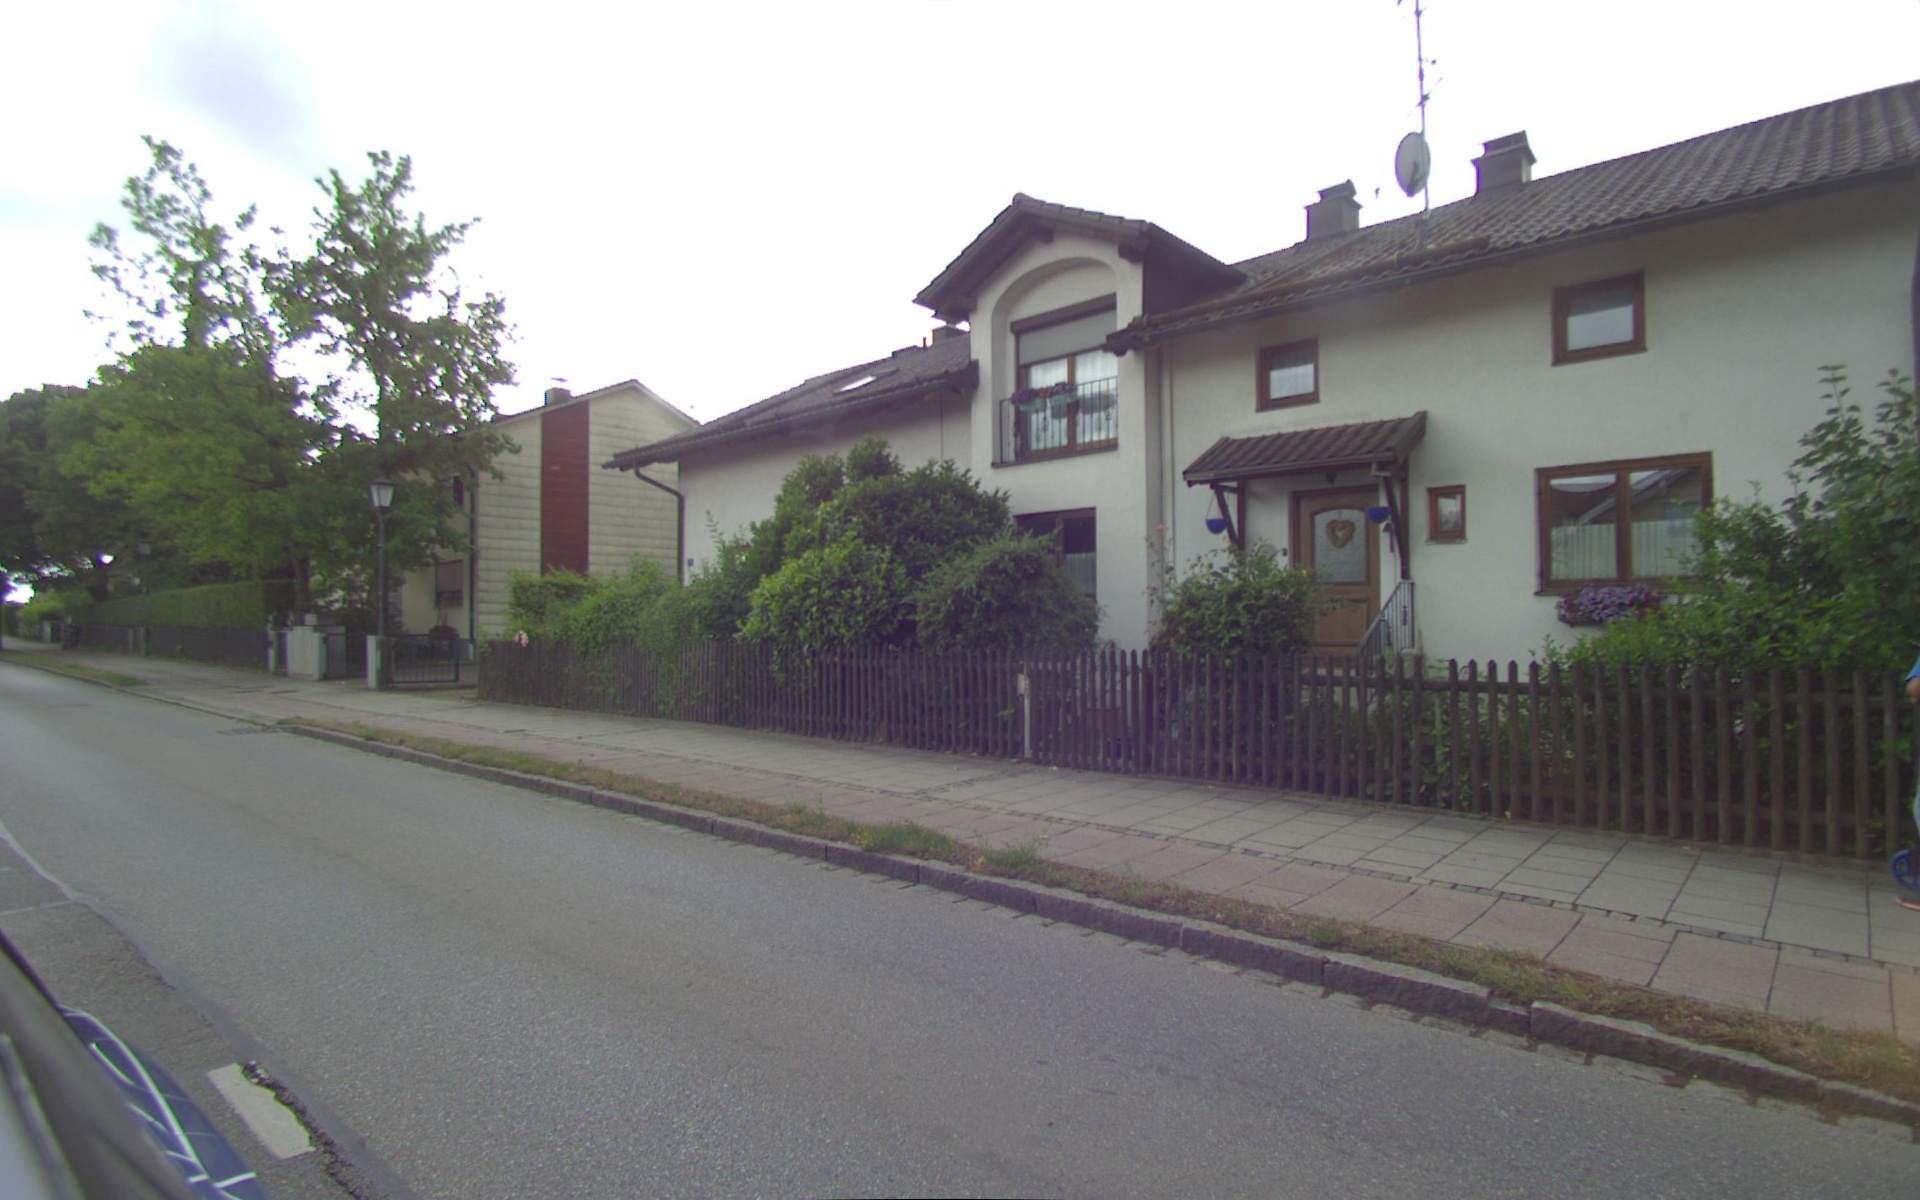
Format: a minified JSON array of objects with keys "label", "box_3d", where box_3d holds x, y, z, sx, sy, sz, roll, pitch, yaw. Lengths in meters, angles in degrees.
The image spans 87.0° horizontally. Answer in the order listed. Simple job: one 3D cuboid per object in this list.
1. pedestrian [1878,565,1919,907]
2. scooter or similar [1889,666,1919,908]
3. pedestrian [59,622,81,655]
[{"label":"pedestrian","box_3d":[4.592,0.610,4.508,0.526,1.540,0.489,0,-1,-9]},{"label":"scooter or similar","box_3d":[4.841,0.837,4.383,1.178,1.045,0.654,-1,-2,43]},{"label":"pedestrian","box_3d":[-39.302,1.688,44.688,0.563,1.448,0.622,-1,-2,41]}]
